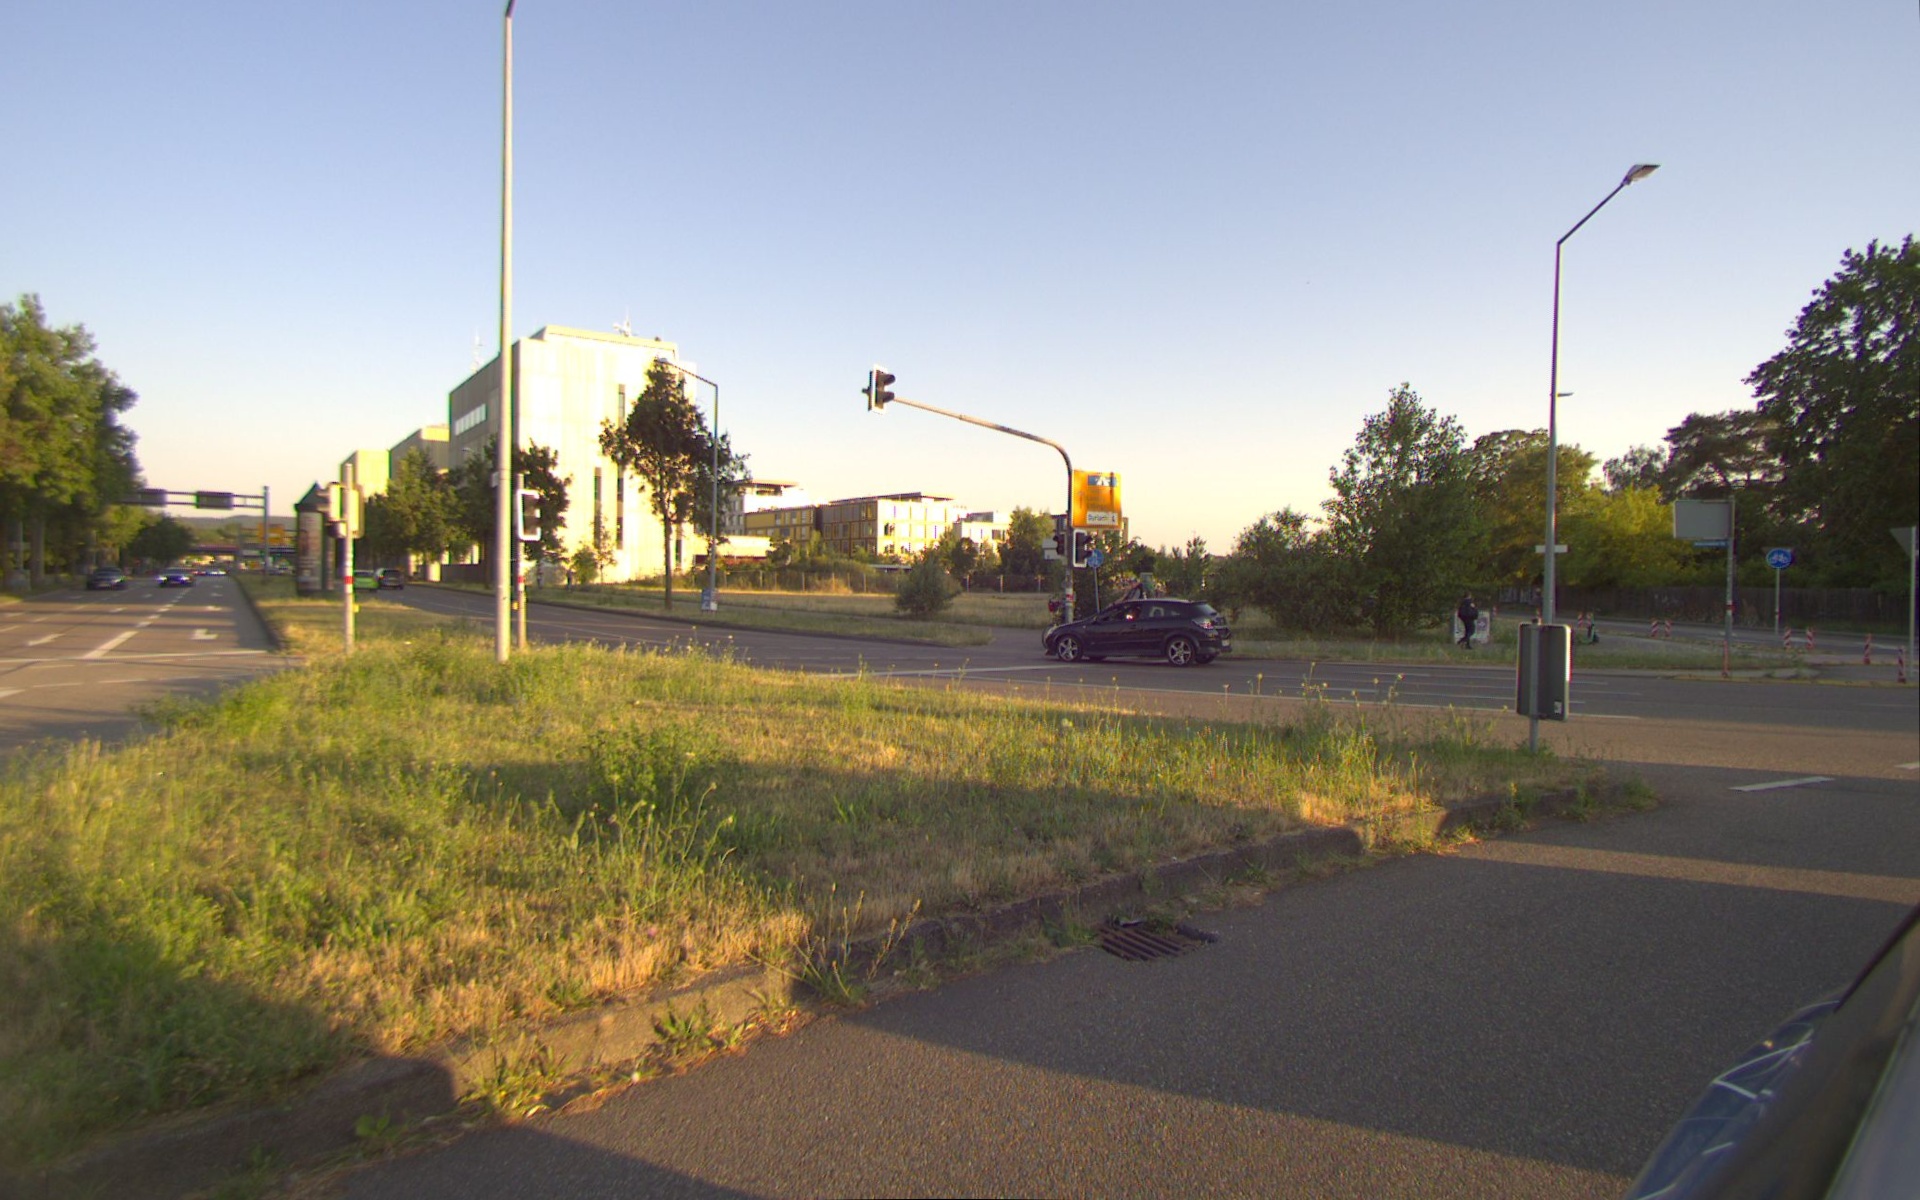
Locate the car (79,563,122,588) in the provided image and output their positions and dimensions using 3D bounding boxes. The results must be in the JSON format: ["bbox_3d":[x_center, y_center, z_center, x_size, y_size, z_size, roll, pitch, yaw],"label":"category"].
[{"bbox_3d":[-55.534,-1.581,65.468,1.964,1.524,4.617,0,1,-39],"label":"car"}]

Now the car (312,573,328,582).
[{"bbox_3d":[-106.813,-3.825,168.862,1.962,1.445,4.198,0,1,-36],"label":"car"}]

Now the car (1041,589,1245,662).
[{"bbox_3d":[3.994,0.501,22.282,4.093,1.396,1.732,2,1,31],"label":"car"}]

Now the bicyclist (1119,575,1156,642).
[{"bbox_3d":[4.600,0.212,26.267,0.674,1.711,0.727,1,1,-13],"label":"bicyclist"}]

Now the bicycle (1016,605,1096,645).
[{"bbox_3d":[2.600,0.661,27.350,2.065,0.975,0.711,-2,2,-27],"label":"bicycle"}]

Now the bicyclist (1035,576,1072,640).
[{"bbox_3d":[2.514,0.210,27.332,0.675,1.711,0.726,0,1,-29],"label":"bicyclist"}]

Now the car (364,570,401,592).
[{"bbox_3d":[-44.349,-1.492,77.678,1.703,1.597,4.324,0,1,-40],"label":"car"}]

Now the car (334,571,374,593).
[{"bbox_3d":[-40.941,-1.228,68.342,1.660,1.438,3.995,0,1,-40],"label":"car"}]

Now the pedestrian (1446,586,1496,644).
[{"bbox_3d":[14.574,0.402,28.880,0.974,1.610,0.925,1,1,5],"label":"pedestrian"}]

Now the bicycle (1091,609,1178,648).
[{"bbox_3d":[4.527,0.734,26.245,2.100,0.975,0.711,1,1,-15],"label":"bicycle"}]

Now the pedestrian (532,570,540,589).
[{"bbox_3d":[-34.611,-1.705,82.609,0.492,1.531,0.530,0,1,-35],"label":"pedestrian"}]

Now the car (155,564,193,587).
[{"bbox_3d":[-55.885,-1.762,71.986,1.963,1.524,4.771,0,1,-36],"label":"car"}]

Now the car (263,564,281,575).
[{"bbox_3d":[-100.654,-4.446,148.034,1.963,1.649,3.998,0,1,-38],"label":"car"}]

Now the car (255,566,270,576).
[{"bbox_3d":[-125.778,-5.218,182.492,1.963,1.649,3.998,0,1,-37],"label":"car"}]

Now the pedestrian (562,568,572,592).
[{"bbox_3d":[-28.693,-1.471,73.949,0.555,1.705,0.520,0,1,-35],"label":"pedestrian"}]
